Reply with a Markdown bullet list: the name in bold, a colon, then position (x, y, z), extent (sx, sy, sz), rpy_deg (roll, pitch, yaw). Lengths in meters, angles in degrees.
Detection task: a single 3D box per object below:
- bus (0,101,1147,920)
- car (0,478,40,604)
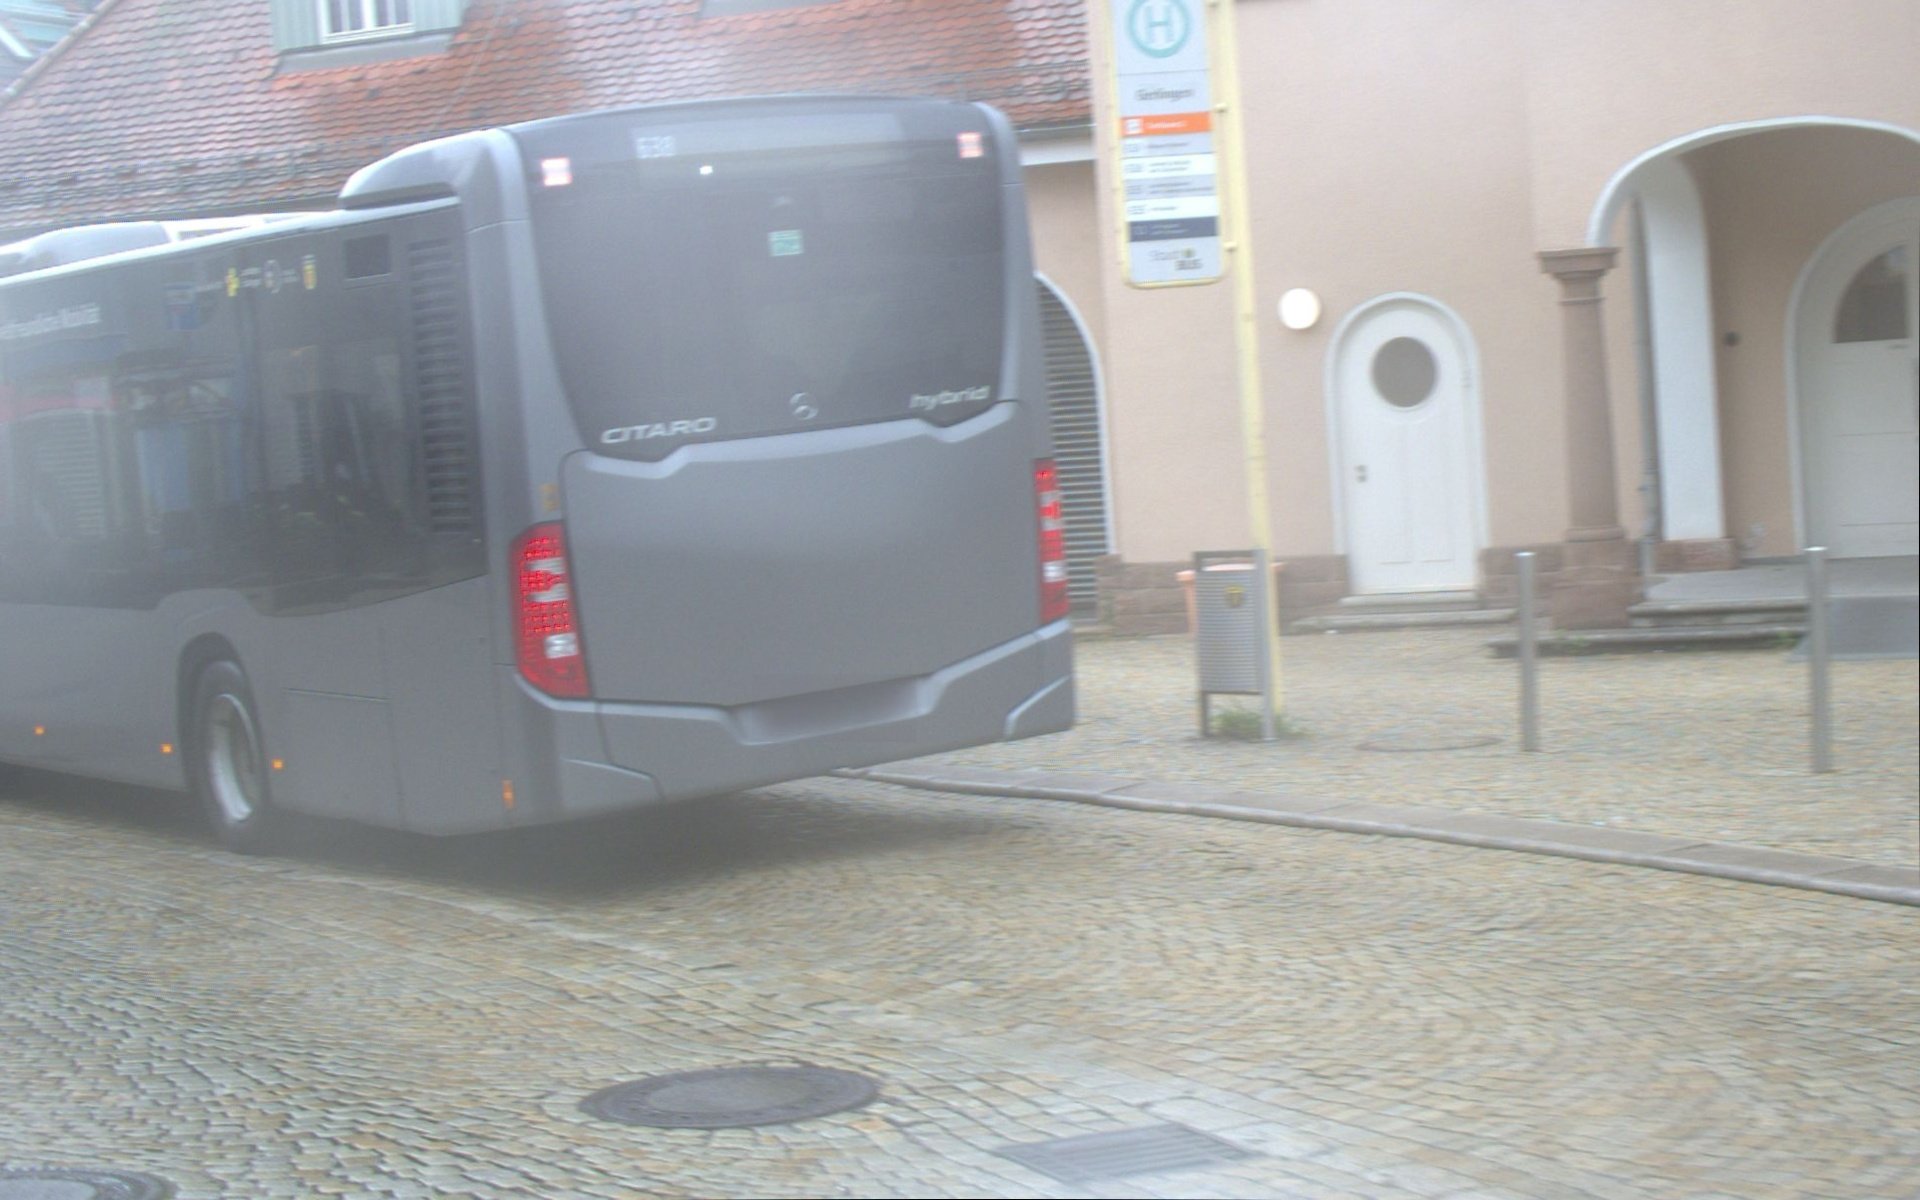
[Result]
- **bus**: position (-3.363, -0.476, 17.763), extent (2.780, 2.979, 10.556), rpy_deg (-6, 4, -33)
- **car**: position (-17.343, -0.914, 58.587), extent (1.994, 2.006, 4.001), rpy_deg (-2, 5, 2)
